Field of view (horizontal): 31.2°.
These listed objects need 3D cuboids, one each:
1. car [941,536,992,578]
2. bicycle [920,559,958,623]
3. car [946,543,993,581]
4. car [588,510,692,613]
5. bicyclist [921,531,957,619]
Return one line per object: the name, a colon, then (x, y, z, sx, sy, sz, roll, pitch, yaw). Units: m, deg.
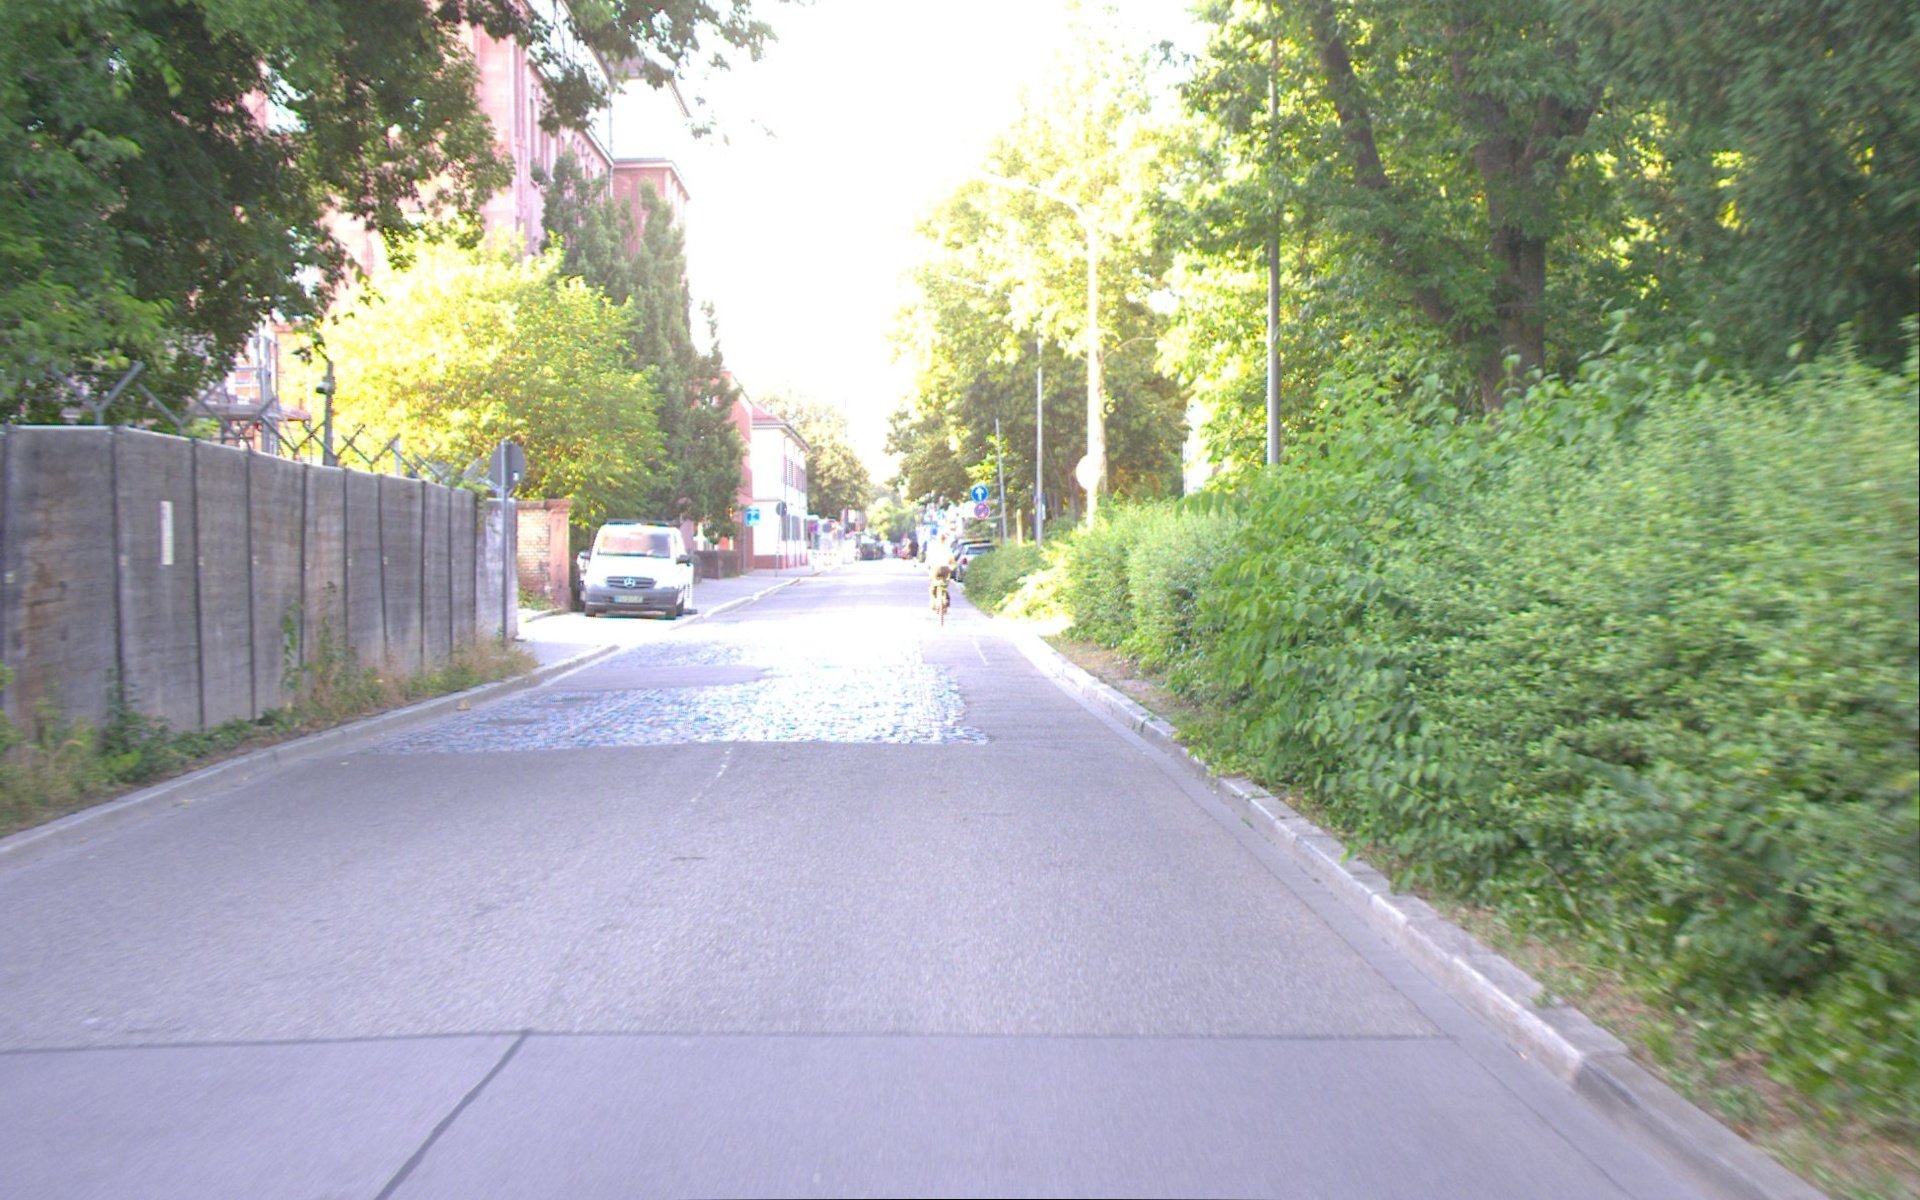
car: (0.227, -1.627, 130.787, 1.685, 1.442, 3.672, -3, 0, -3)
bicycle: (-0.407, -0.177, 65.670, 0.638, 1.189, 1.876, 1, 1, -3)
car: (0.382, -1.606, 144.366, 1.715, 1.532, 4.049, -1, 1, -3)
car: (-6.560, -0.769, 71.001, 1.882, 2.007, 5.226, 1, 0, -3)
bicyclist: (-0.404, -0.474, 65.675, 0.639, 1.661, 0.843, 1, 1, -3)
